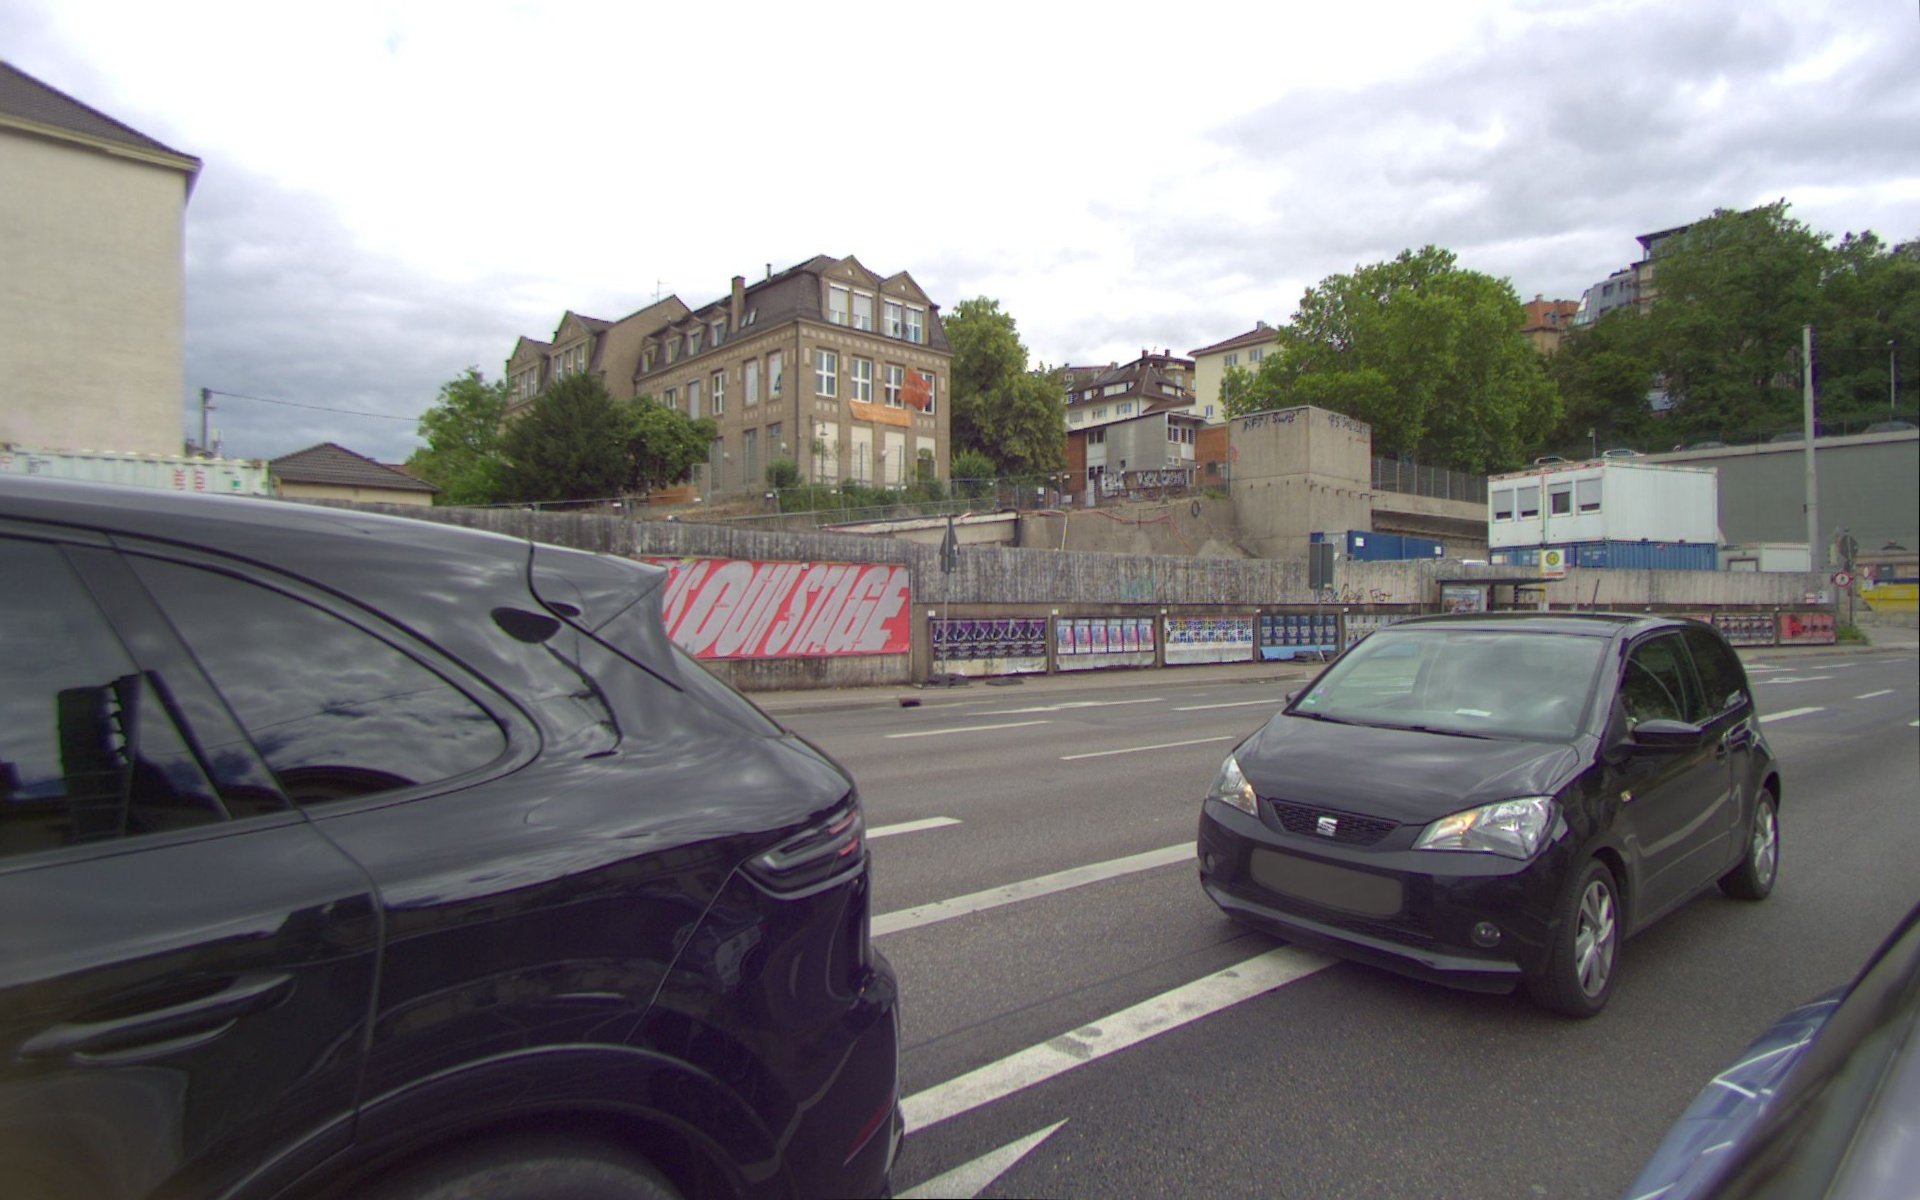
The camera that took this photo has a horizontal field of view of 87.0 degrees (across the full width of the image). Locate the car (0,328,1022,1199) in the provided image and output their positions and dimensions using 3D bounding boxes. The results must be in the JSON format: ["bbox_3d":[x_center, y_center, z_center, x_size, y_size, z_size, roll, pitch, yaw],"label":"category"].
[{"bbox_3d":[-2.249,0.596,1.143,4.552,1.707,1.959,0,-1,-40],"label":"car"}]

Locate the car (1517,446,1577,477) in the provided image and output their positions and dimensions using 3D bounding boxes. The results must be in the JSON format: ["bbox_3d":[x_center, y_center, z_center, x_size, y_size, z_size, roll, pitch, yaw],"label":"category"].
[{"bbox_3d":[49.248,-11.591,84.955,3.987,2.039,1.968,0,0,44],"label":"car"}]

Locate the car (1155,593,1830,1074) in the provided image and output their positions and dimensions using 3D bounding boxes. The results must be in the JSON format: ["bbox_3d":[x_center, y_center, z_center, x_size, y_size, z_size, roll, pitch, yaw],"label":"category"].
[{"bbox_3d":[2.858,0.747,5.074,3.812,1.515,1.666,0,-1,-40],"label":"car"}]

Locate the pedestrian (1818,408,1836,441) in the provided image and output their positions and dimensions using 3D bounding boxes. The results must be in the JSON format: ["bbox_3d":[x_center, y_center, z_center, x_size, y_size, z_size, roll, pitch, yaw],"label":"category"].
[{"bbox_3d":[59.668,-12.075,69.622,0.891,2.039,0.849,1,-1,-45],"label":"pedestrian"}]

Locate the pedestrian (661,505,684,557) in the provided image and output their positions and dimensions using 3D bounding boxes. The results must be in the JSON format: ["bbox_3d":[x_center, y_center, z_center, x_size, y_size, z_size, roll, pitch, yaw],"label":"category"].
[{"bbox_3d":[-11.711,-2.807,41.218,0.656,2.039,0.644,0,0,-45],"label":"pedestrian"}]

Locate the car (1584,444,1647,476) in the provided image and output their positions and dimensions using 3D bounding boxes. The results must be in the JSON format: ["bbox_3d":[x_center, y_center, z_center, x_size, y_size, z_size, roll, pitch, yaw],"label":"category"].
[{"bbox_3d":[52.580,-11.193,81.180,3.987,2.039,1.968,0,0,44],"label":"car"}]

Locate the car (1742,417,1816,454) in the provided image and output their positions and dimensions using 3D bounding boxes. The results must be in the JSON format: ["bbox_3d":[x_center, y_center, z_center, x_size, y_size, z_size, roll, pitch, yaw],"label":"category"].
[{"bbox_3d":[59.664,-11.923,73.792,1.967,2.039,3.991,0,0,-43],"label":"car"}]

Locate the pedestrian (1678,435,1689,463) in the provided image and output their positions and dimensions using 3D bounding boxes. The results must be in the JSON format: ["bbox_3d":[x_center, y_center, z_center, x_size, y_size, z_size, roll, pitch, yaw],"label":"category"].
[{"bbox_3d":[55.740,-11.635,77.978,0.568,2.039,0.580,0,0,-45],"label":"pedestrian"}]
